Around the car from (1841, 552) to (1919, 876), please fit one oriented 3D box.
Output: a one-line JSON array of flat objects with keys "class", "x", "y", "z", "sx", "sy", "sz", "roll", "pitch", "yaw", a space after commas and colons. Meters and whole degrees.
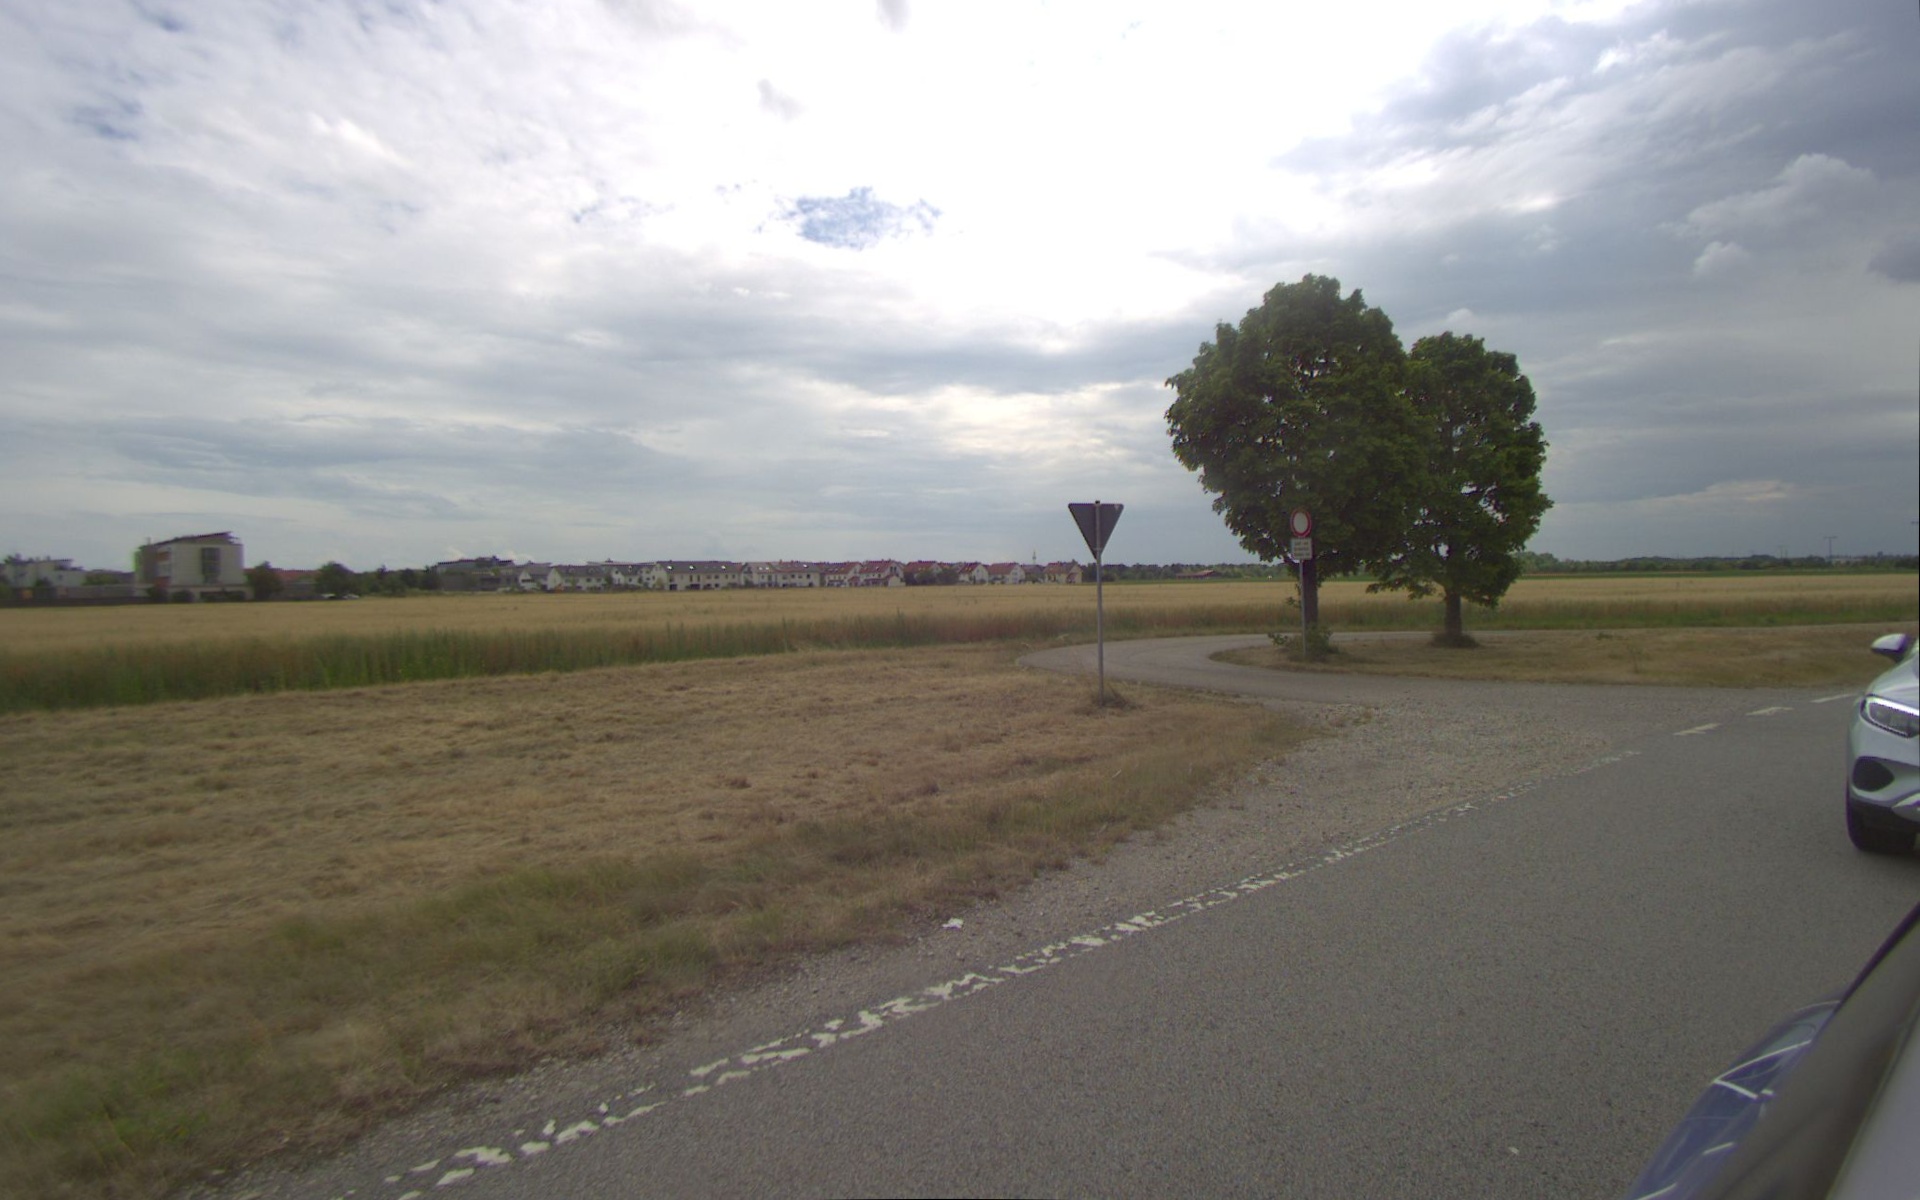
[{"class": "car", "x": 6.806, "y": 0.544, "z": 5.973, "sx": 4.372, "sy": 1.606, "sz": 1.835, "roll": -1, "pitch": 1, "yaw": -41}]
